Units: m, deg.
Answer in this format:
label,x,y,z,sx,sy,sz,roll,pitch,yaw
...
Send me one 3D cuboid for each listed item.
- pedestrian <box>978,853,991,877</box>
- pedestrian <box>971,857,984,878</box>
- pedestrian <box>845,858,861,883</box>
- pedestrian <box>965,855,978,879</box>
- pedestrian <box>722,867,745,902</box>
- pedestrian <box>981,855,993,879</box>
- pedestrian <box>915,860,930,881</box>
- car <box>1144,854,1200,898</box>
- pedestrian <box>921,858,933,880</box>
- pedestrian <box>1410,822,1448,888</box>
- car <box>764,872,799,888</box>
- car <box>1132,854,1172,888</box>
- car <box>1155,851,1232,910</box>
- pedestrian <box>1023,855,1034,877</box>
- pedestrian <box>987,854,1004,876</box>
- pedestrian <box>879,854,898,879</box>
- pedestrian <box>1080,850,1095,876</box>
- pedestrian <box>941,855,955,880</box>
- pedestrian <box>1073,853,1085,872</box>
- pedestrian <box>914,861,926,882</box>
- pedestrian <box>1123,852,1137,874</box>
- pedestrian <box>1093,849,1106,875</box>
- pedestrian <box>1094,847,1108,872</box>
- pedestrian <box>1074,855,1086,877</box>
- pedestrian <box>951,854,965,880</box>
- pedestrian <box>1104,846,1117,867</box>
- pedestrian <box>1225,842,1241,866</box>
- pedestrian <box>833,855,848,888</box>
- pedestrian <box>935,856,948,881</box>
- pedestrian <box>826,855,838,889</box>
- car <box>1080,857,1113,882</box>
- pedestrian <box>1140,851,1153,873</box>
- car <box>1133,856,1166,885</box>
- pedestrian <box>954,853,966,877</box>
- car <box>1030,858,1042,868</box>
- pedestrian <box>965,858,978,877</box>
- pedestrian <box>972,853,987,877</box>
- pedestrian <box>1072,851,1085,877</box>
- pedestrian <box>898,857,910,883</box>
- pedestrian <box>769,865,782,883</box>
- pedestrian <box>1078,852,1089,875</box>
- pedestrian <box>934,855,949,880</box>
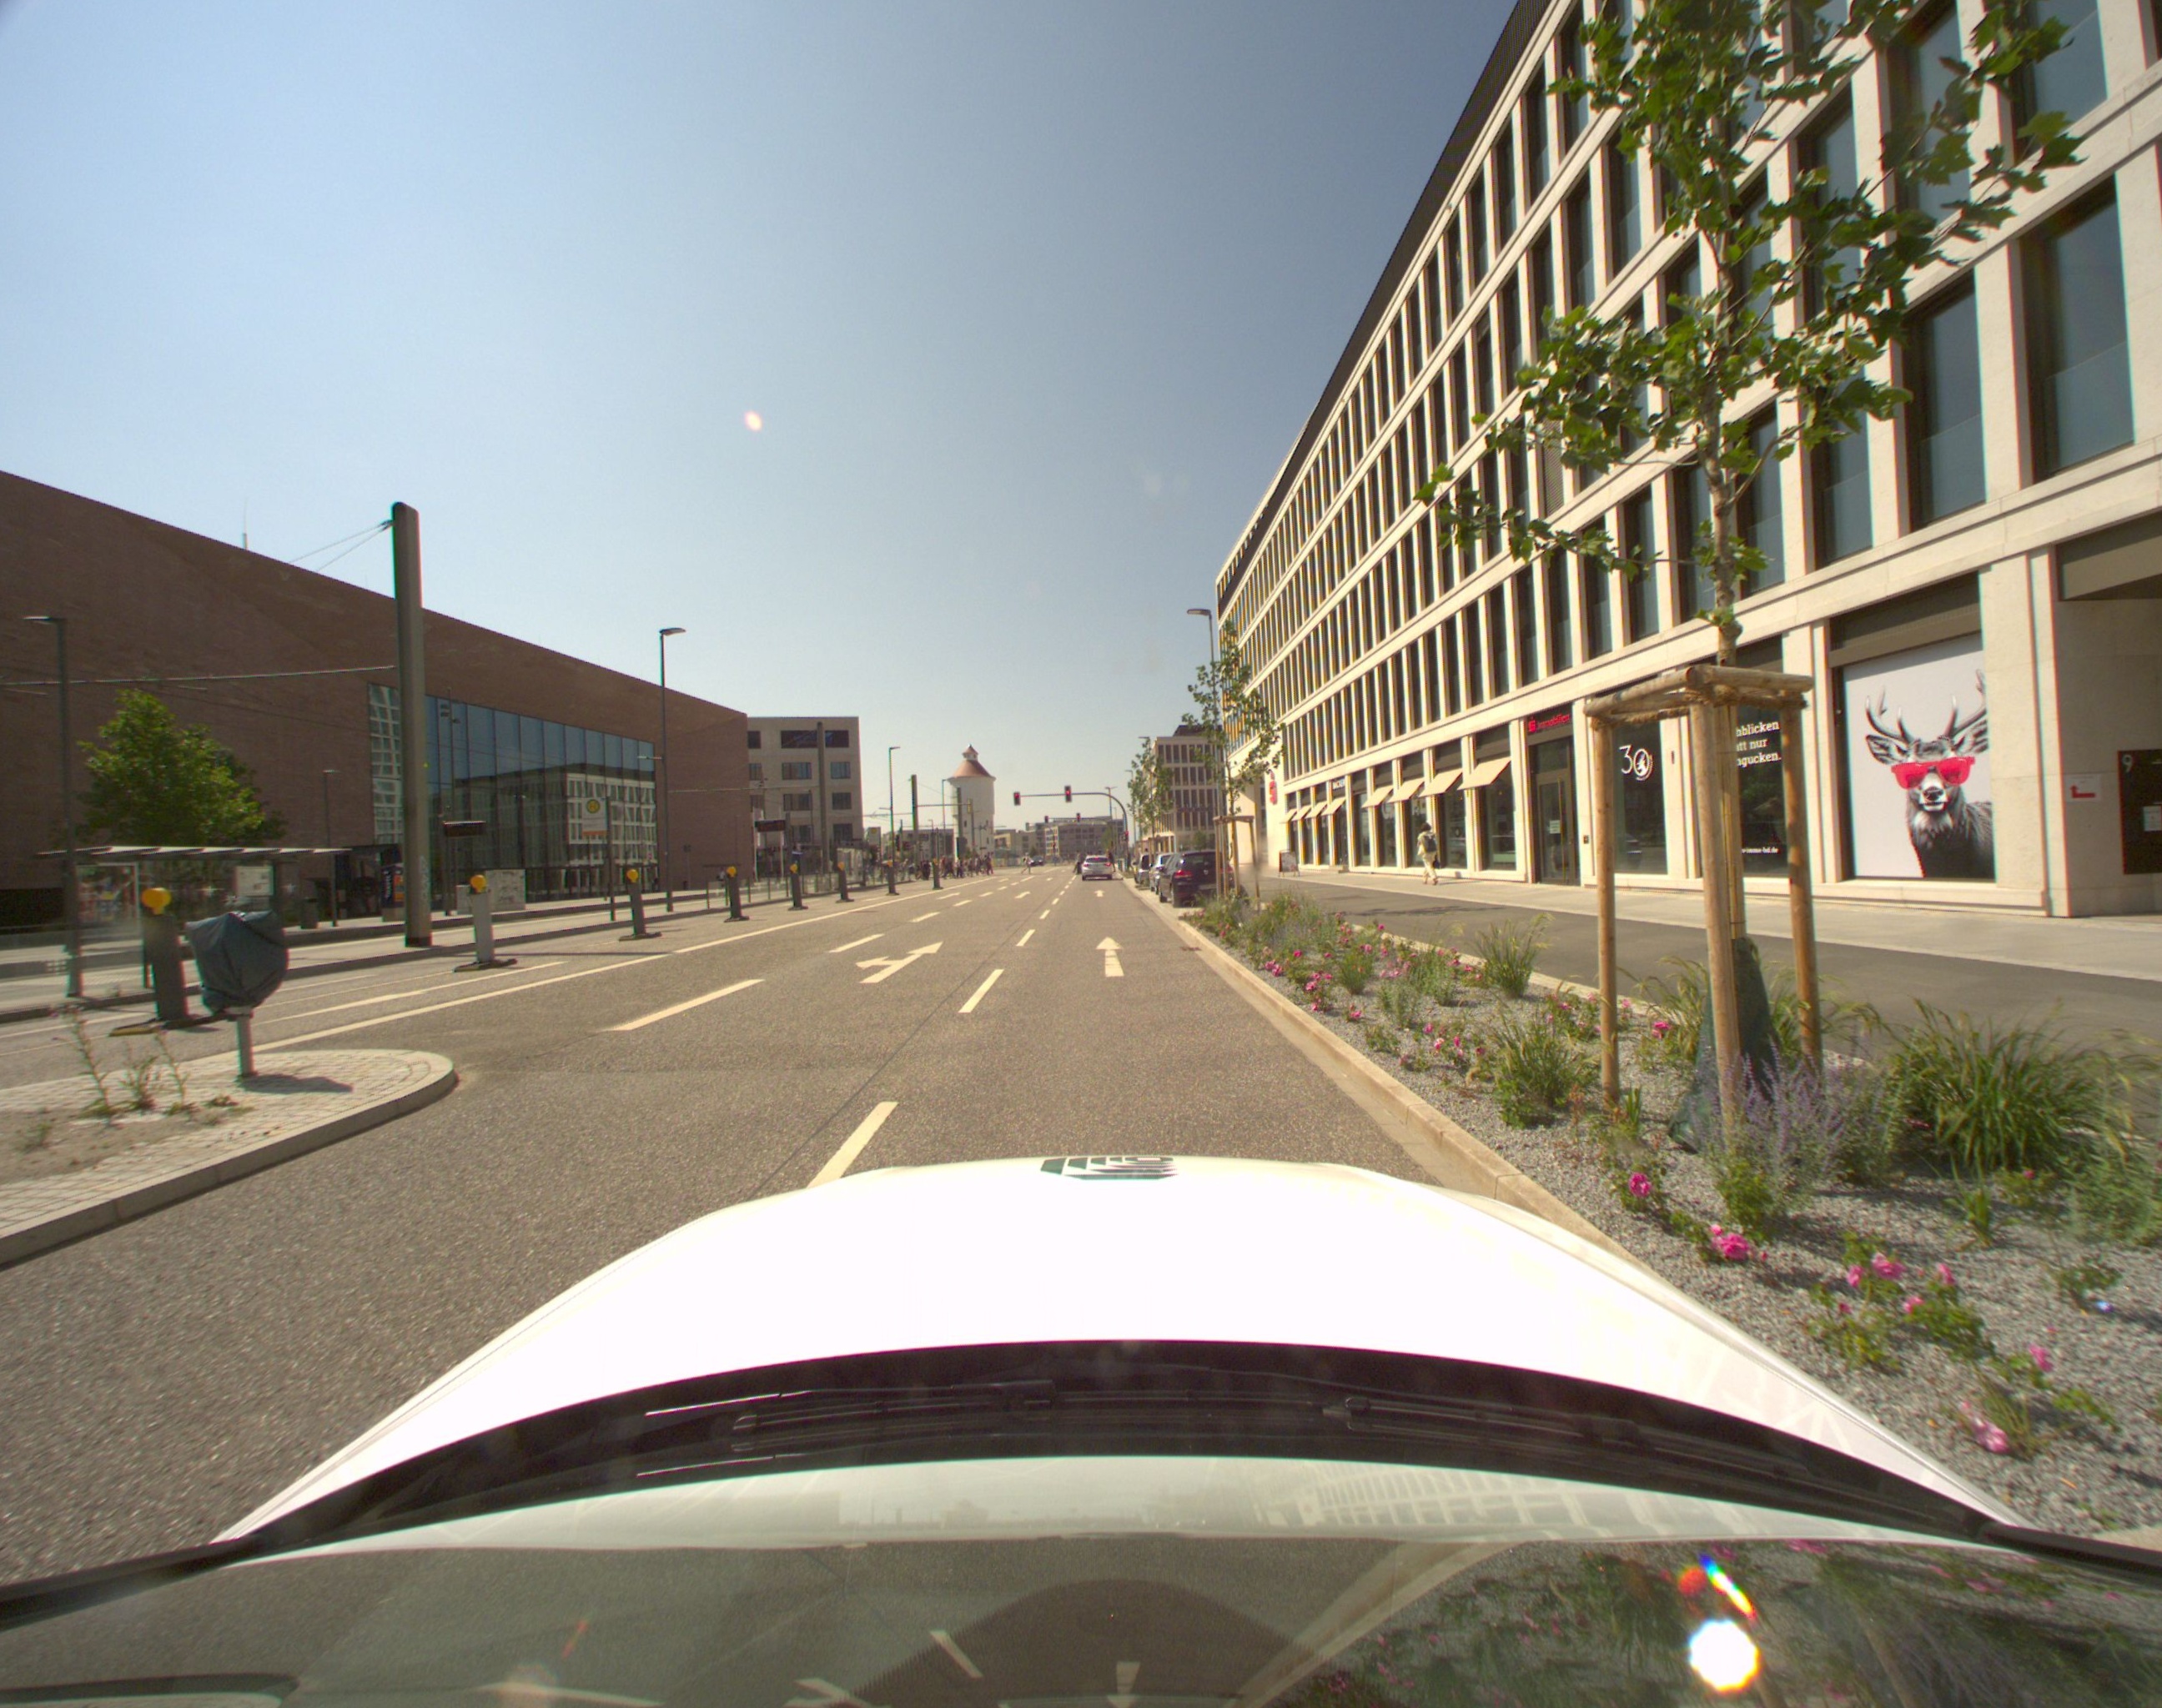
label,x,y,z,sx,sy,sz,roll,pitch,yaw
pedestrian,-7.838,0.920,66.284,0.838,1.890,0.692,-3,0,2
pedestrian,-8.691,1.128,68.502,0.896,1.674,1.007,-3,0,-18
pedestrian,-18.313,1.321,65.395,0.975,1.890,0.827,-2,-1,2
pedestrian,-8.673,1.021,64.536,0.763,1.890,0.692,-3,0,2
pedestrian,-18.366,1.620,43.047,0.808,1.820,0.825,-1,0,1
pedestrian,-7.555,1.018,65.394,0.763,1.890,0.692,-3,0,2
pedestrian,-12.793,1.322,65.936,0.906,1.637,0.815,-3,0,5
car,3.321,0.763,30.282,1.599,1.387,3.815,-4,0,1
pedestrian,-11.770,1.132,62.268,0.630,1.618,0.769,-3,0,7
pedestrian,9.553,0.031,22.383,0.625,1.742,0.814,-3,0,1
car,-38.408,3.344,104.575,3.943,1.816,1.791,-2,-1,-11
car,3.313,0.760,38.417,1.550,1.472,3.470,-3,0,1
car,3.082,0.683,23.002,1.730,1.474,3.982,-2,0,2
pedestrian,-4.301,0.974,66.375,0.763,1.734,0.692,-3,0,2
pedestrian,-7.510,0.946,71.653,1.175,1.820,1.070,-3,0,5
pedestrian,-15.727,1.013,66.460,1.164,1.890,1.060,-3,1,2
pedestrian,0.476,0.663,60.690,1.011,1.890,0.798,-3,0,-2
pedestrian,-10.649,1.060,65.107,0.885,1.890,0.796,-3,0,1
pedestrian,-0.139,0.740,71.119,0.883,1.647,0.797,-3,0,5
pedestrian,-12.641,1.355,63.927,0.724,1.576,0.642,-3,0,5
pedestrian,3.732,0.672,61.639,0.886,1.635,0.691,-3,0,-4
pedestrian,1.401,0.612,62.380,0.886,1.890,0.795,-3,0,-4
pedestrian,1.493,0.417,61.548,0.886,1.890,0.795,-3,0,-4
pedestrian,-0.090,0.896,62.898,0.790,1.647,0.891,-3,0,3
pedestrian,-9.240,1.001,61.361,0.886,1.890,0.691,-3,0,-4
pedestrian,2.383,0.175,65.705,0.887,1.647,0.794,-3,0,-9
pedestrian,11.237,-0.004,60.253,0.986,1.655,0.692,-3,0,2
pedestrian,-13.381,0.965,45.308,0.665,1.820,0.718,-1,0,-22
pedestrian,-10.716,1.106,62.573,0.886,1.890,0.691,-3,0,-4
pedestrian,-13.512,0.965,44.135,0.551,1.820,0.596,-1,-1,-20
car,0.959,0.948,48.293,1.764,1.395,3.534,-1,-1,3
pedestrian,5.040,0.586,62.653,0.760,1.620,0.695,-3,0,17
car,3.606,0.822,43.167,1.424,1.390,4.000,-3,0,1
pedestrian,-9.925,0.907,66.795,0.730,1.890,0.715,-1,-1,5
car,-7.304,1.531,132.010,1.582,1.530,3.692,-2,-1,0
pedestrian,-9.673,1.208,72.047,0.883,1.647,0.797,-3,0,5
pedestrian,-8.637,0.953,69.538,1.023,2.013,0.949,-3,0,-18
pedestrian,-0.186,0.736,61.895,0.726,1.890,0.822,-3,0,7
pedestrian,-13.389,1.182,61.514,0.634,1.890,0.797,-3,0,2
pedestrian,-27.325,1.766,72.788,0.708,1.571,0.890,-3,0,0
pedestrian,0.175,0.719,63.794,0.763,1.734,0.692,-3,0,2
pedestrian,-11.019,1.087,64.182,0.883,1.890,0.798,-3,0,5
